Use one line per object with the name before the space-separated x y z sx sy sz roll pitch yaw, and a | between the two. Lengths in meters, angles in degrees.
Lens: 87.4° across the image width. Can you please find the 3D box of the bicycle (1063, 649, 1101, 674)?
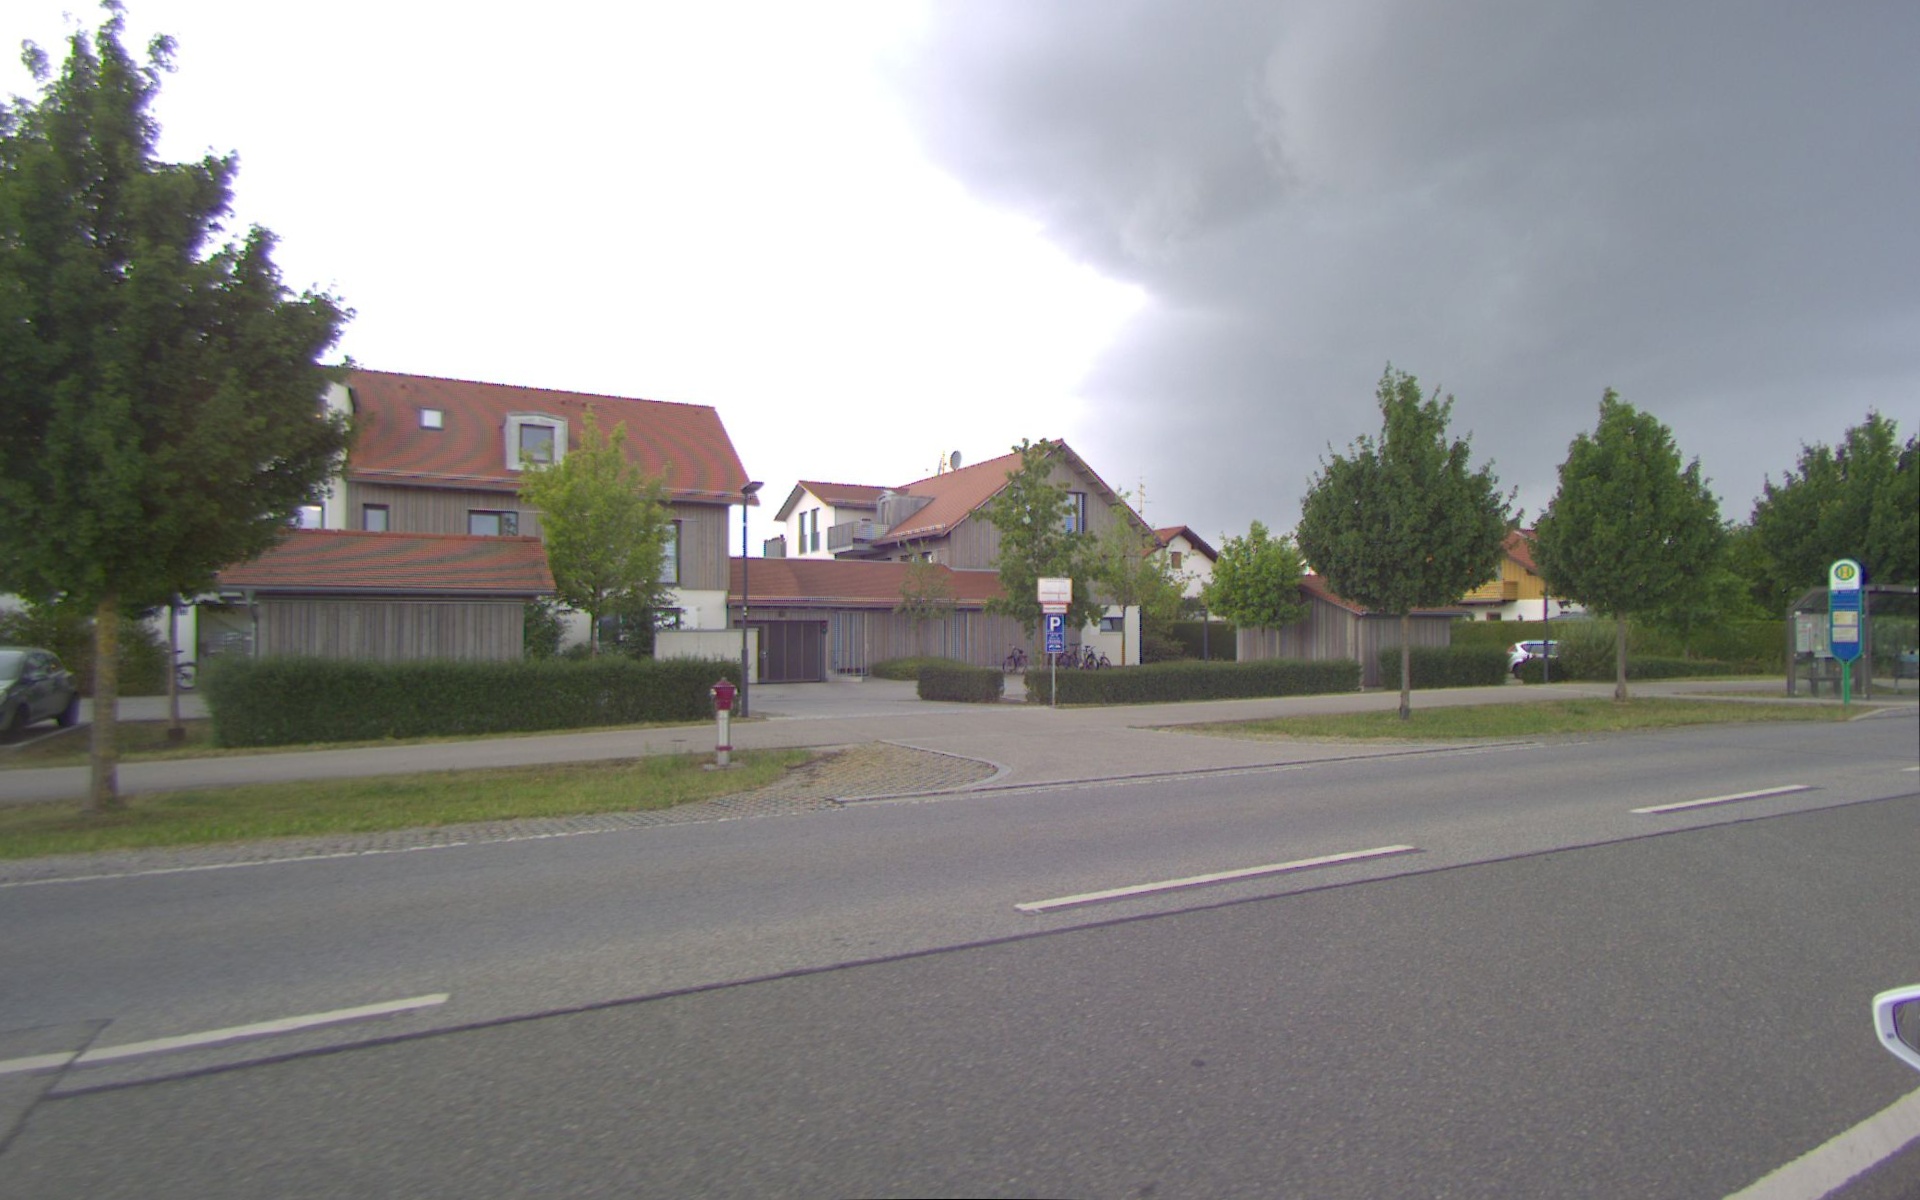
bicycle | 4.843 2.439 40.034 0.414 0.921 1.932 1 -1 -30

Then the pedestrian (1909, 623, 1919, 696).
pedestrian | 22.232 1.355 22.961 0.803 1.658 0.585 1 -1 -30

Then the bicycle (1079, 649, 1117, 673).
bicycle | 5.525 2.444 40.411 0.414 0.921 1.932 1 -1 -30

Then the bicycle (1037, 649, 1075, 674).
bicycle | 3.745 2.392 39.384 0.414 0.921 1.932 1 -1 -30

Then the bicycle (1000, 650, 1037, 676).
bicycle | 2.241 2.384 38.425 0.414 0.921 1.932 1 -1 -30

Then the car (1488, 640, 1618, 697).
car | 23.248 2.646 39.511 1.977 2.040 3.967 1 -1 -31

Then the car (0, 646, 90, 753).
car | -15.903 1.589 16.814 1.285 1.458 3.567 2 0 -29
